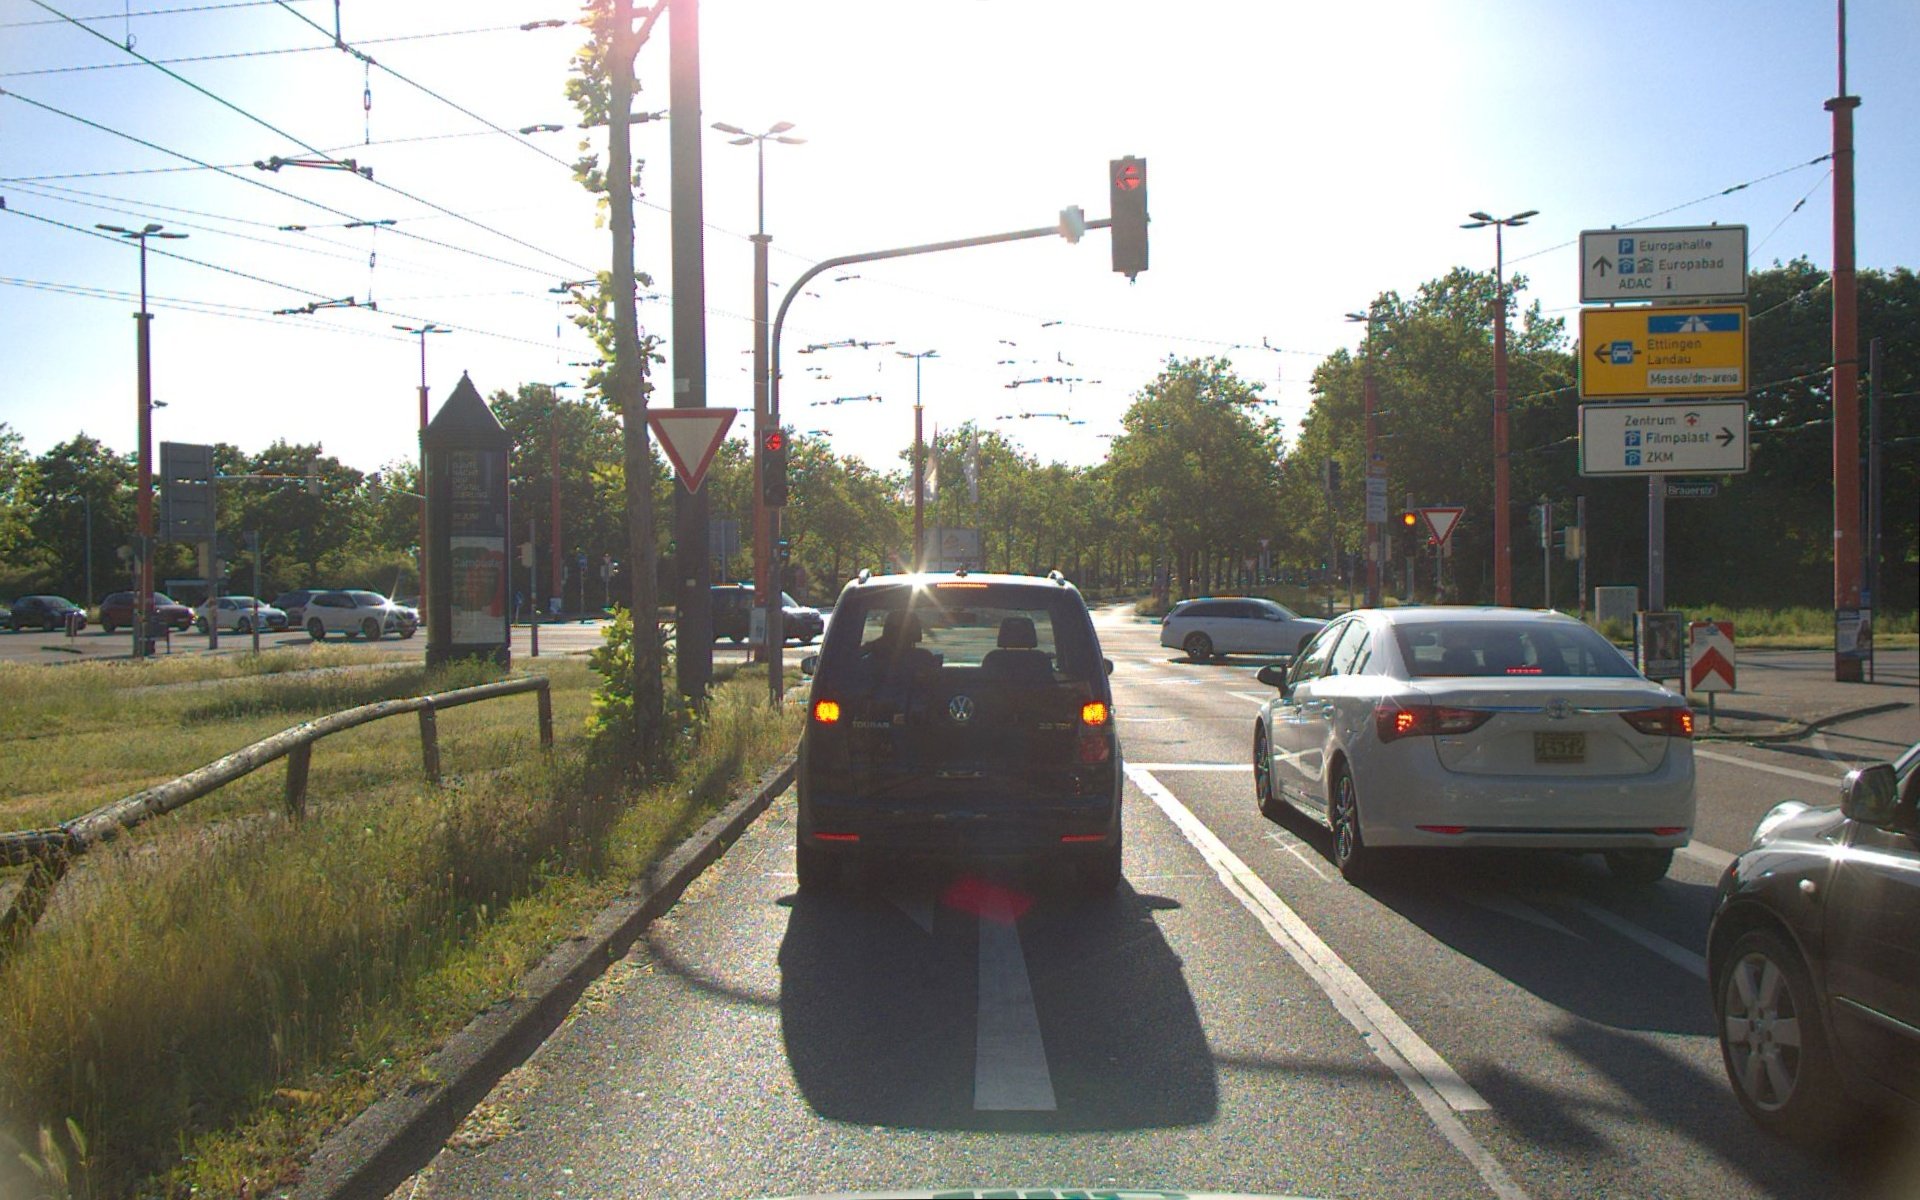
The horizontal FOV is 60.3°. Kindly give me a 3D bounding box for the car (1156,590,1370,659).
[{"bbox_3d":[7.415,0.575,40.561,4.819,1.602,1.997,0,0,28],"label":"car"}]

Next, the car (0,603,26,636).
[{"bbox_3d":[-45.048,0.880,75.771,4.143,1.489,1.913,0,0,26],"label":"car"}]

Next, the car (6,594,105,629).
[{"bbox_3d":[-40.001,0.498,73.164,3.963,1.489,1.912,0,0,26],"label":"car"}]

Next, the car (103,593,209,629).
[{"bbox_3d":[-34.333,0.441,70.618,4.275,1.489,1.912,0,0,27],"label":"car"}]

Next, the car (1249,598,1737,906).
[{"bbox_3d":[2.953,0.737,10.113,1.679,1.480,4.144,0,0,0],"label":"car"}]

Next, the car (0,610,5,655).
[{"bbox_3d":[-32.996,1.066,54.642,1.811,1.445,3.700,0,0,-42],"label":"car"}]

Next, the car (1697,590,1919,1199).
[{"bbox_3d":[3.133,0.740,3.514,1.525,1.532,3.515,0,0,-1],"label":"car"}]

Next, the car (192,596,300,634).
[{"bbox_3d":[-29.343,0.599,67.995,4.127,1.489,1.912,0,0,27],"label":"car"}]

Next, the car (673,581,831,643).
[{"bbox_3d":[-6.545,0.372,52.000,4.687,1.868,1.912,0,0,27],"label":"car"}]

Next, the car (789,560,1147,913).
[{"bbox_3d":[0.012,0.641,9.869,1.702,1.670,3.999,0,0,-1],"label":"car"}]

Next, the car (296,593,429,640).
[{"bbox_3d":[-21.790,0.581,60.322,4.687,1.626,1.912,0,0,27],"label":"car"}]

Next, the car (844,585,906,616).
[{"bbox_3d":[-4.751,0.012,93.324,1.951,1.714,4.831,0,0,17],"label":"car"}]

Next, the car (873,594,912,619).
[{"bbox_3d":[-4.662,0.421,115.117,1.951,1.714,4.832,0,0,7],"label":"car"}]
